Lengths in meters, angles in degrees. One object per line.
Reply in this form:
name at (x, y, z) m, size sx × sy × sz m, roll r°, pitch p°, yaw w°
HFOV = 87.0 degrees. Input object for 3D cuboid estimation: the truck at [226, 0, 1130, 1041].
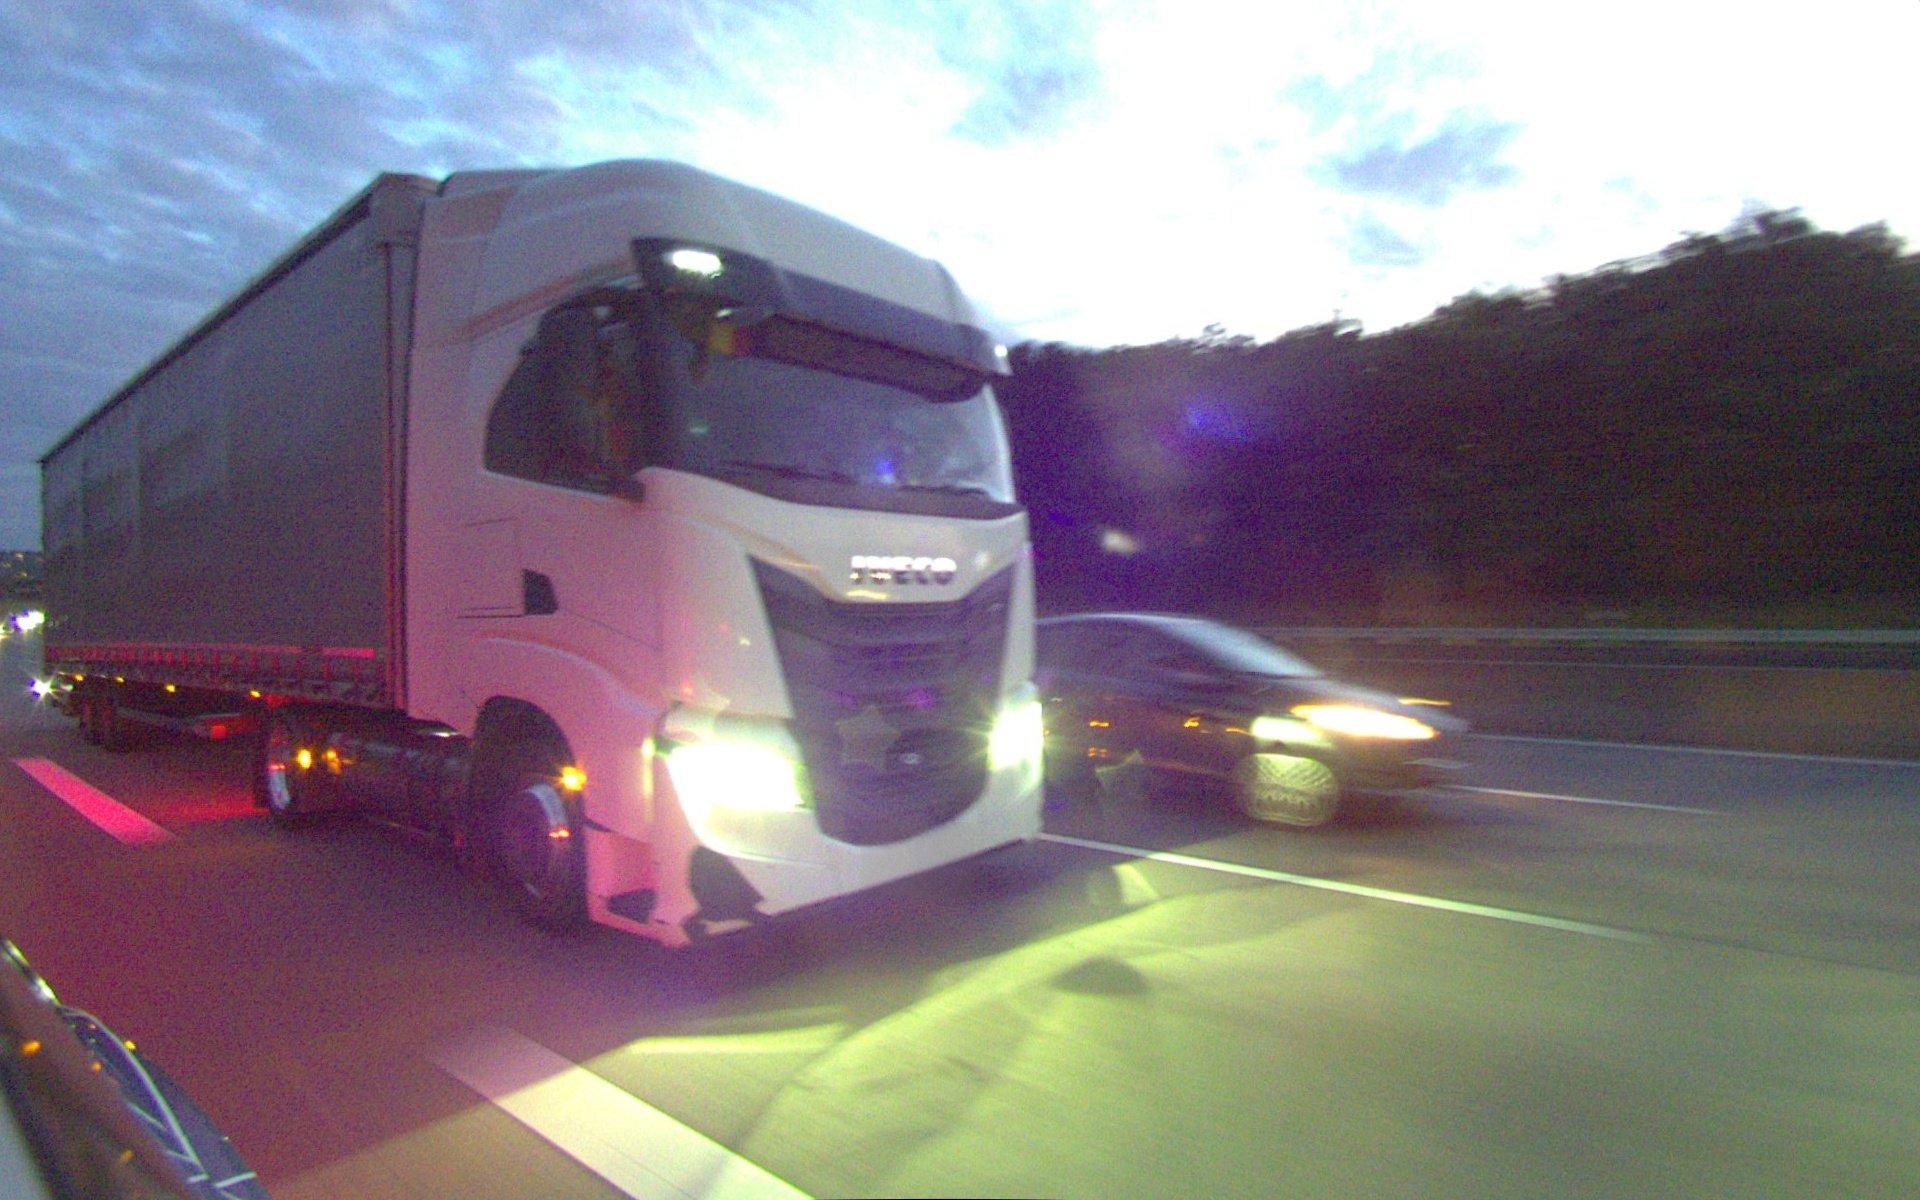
truck at (-2.290, -0.389, 6.574) m, size 6.152 × 3.931 × 2.750 m, roll -2°, pitch -2°, yaw 42°

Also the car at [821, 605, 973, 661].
car at (-2.116, 1.068, 32.924) m, size 5.008 × 1.677 × 1.972 m, roll -2°, pitch -1°, yaw 42°

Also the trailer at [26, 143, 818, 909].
trailer at (-7.463, -0.226, 11.173) m, size 14.813 × 3.945 × 2.744 m, roll -2°, pitch -2°, yaw 42°

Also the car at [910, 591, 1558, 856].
car at (1.926, 0.751, 8.015) m, size 4.546 × 1.510 × 1.973 m, roll -2°, pitch -1°, yaw 41°
